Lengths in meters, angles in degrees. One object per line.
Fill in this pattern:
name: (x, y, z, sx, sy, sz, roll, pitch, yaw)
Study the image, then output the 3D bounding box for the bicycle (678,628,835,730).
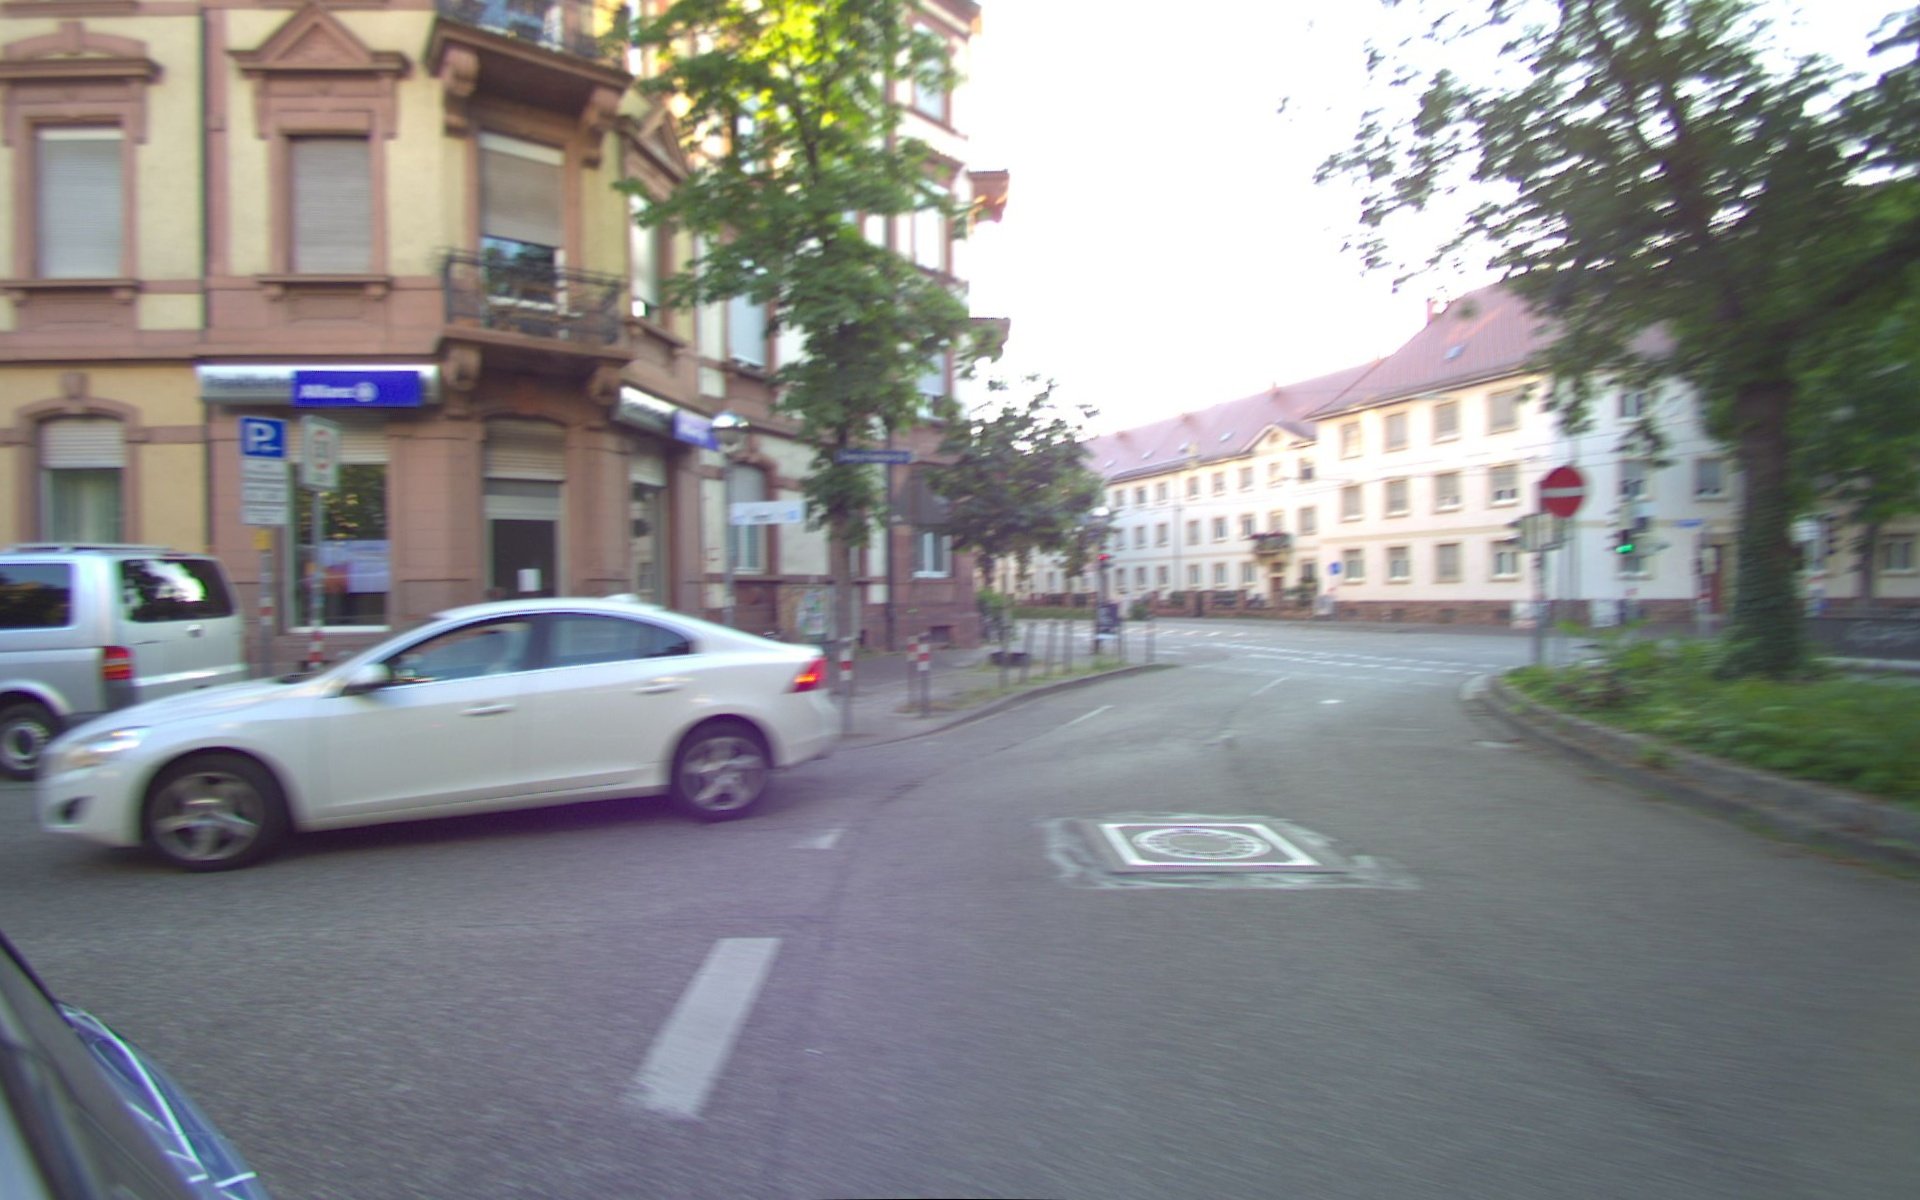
bicycle: (-2.415, 0.913, 12.012, 1.768, 1.091, 0.562, -1, 1, -15)

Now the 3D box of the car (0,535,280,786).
car: (-9.492, 0.513, 9.396, 4.933, 2.072, 2.048, -1, 1, -1)

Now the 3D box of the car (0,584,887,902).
car: (-3.089, 0.694, 6.808, 4.757, 1.528, 2.007, -1, 0, -25)
